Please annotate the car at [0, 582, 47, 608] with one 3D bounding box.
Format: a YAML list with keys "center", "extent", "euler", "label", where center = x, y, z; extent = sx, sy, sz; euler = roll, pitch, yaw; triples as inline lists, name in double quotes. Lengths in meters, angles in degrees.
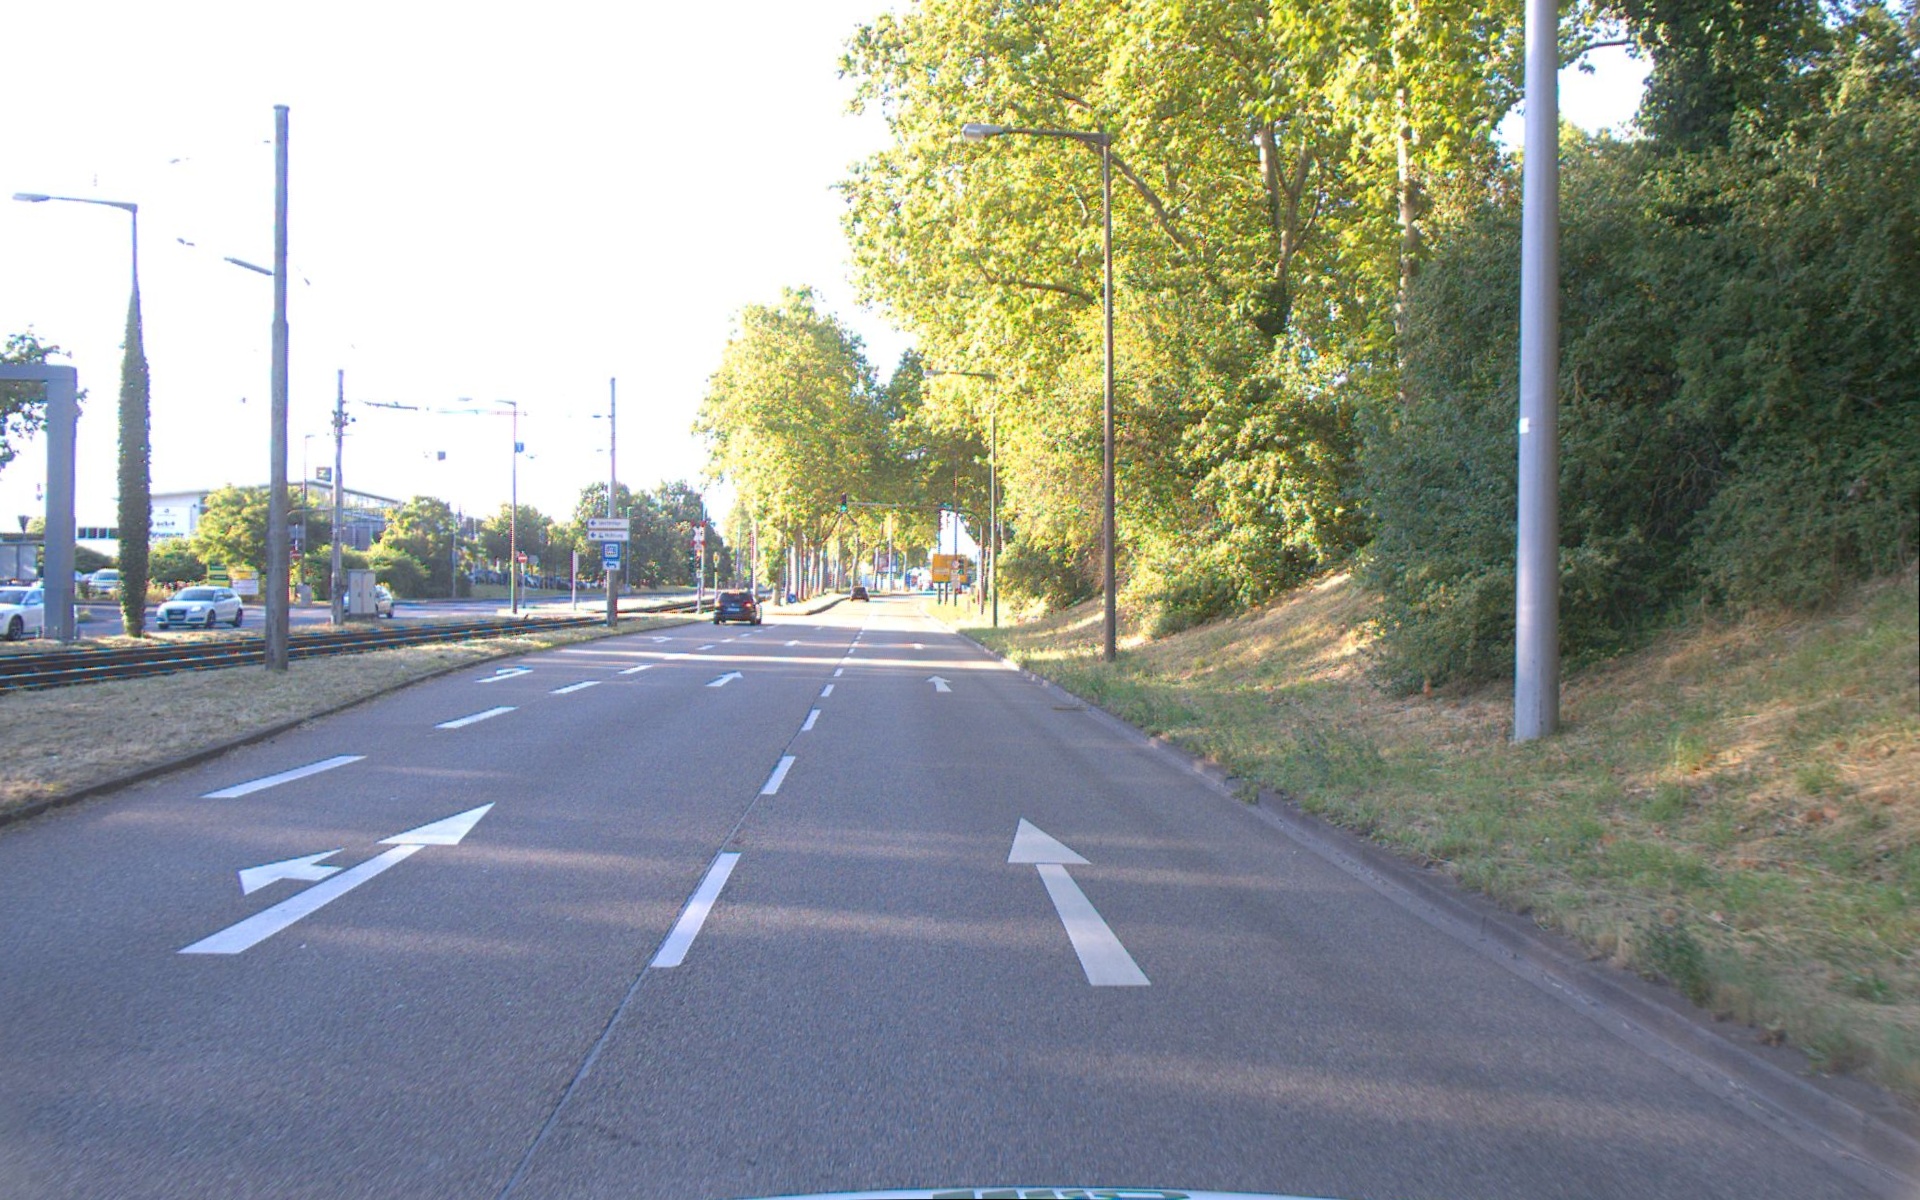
- center: [-55.586, -0.283, 97.044]
  extent: [1.803, 1.467, 4.000]
  euler: [1, 0, 0]
  label: "car"

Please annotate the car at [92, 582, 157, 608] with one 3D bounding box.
- center: [-49.232, -0.275, 97.525]
  extent: [1.803, 1.467, 4.000]
  euler: [1, 0, 0]
  label: "car"

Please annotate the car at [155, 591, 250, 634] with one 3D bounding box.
- center: [-26.766, 0.428, 58.576]
  extent: [1.620, 1.440, 4.255]
  euler: [0, 0, -4]
  label: "car"

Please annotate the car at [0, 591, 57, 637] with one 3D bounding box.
- center: [-32.901, 0.453, 56.482]
  extent: [1.802, 1.507, 4.597]
  euler: [1, 0, -3]
  label: "car"

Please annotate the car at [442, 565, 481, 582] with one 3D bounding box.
- center: [-43.859, -2.317, 145.508]
  extent: [3.082, 1.416, 1.453]
  euler: [1, 0, -6]
  label: "car"

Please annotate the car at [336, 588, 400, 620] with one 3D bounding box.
- center: [-27.282, 0.176, 76.337]
  extent: [1.620, 1.440, 4.256]
  euler: [0, 0, -3]
  label: "car"

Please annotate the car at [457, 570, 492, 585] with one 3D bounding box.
- center: [-47.871, -2.182, 163.158]
  extent: [3.082, 1.416, 1.453]
  euler: [1, 0, -6]
  label: "car"

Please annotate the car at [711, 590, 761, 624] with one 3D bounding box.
- center: [-9.568, 0.301, 70.895]
  extent: [1.756, 1.427, 3.687]
  euler: [0, 0, -2]
  label: "car"

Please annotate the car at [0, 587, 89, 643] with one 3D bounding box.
- center: [-25.646, 0.369, 44.915]
  extent: [1.802, 1.440, 4.596]
  euler: [0, 0, -4]
  label: "car"

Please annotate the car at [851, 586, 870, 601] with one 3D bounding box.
- center: [-9.823, -0.672, 163.009]
  extent: [1.756, 1.427, 3.687]
  euler: [0, 0, -2]
  label: "car"
